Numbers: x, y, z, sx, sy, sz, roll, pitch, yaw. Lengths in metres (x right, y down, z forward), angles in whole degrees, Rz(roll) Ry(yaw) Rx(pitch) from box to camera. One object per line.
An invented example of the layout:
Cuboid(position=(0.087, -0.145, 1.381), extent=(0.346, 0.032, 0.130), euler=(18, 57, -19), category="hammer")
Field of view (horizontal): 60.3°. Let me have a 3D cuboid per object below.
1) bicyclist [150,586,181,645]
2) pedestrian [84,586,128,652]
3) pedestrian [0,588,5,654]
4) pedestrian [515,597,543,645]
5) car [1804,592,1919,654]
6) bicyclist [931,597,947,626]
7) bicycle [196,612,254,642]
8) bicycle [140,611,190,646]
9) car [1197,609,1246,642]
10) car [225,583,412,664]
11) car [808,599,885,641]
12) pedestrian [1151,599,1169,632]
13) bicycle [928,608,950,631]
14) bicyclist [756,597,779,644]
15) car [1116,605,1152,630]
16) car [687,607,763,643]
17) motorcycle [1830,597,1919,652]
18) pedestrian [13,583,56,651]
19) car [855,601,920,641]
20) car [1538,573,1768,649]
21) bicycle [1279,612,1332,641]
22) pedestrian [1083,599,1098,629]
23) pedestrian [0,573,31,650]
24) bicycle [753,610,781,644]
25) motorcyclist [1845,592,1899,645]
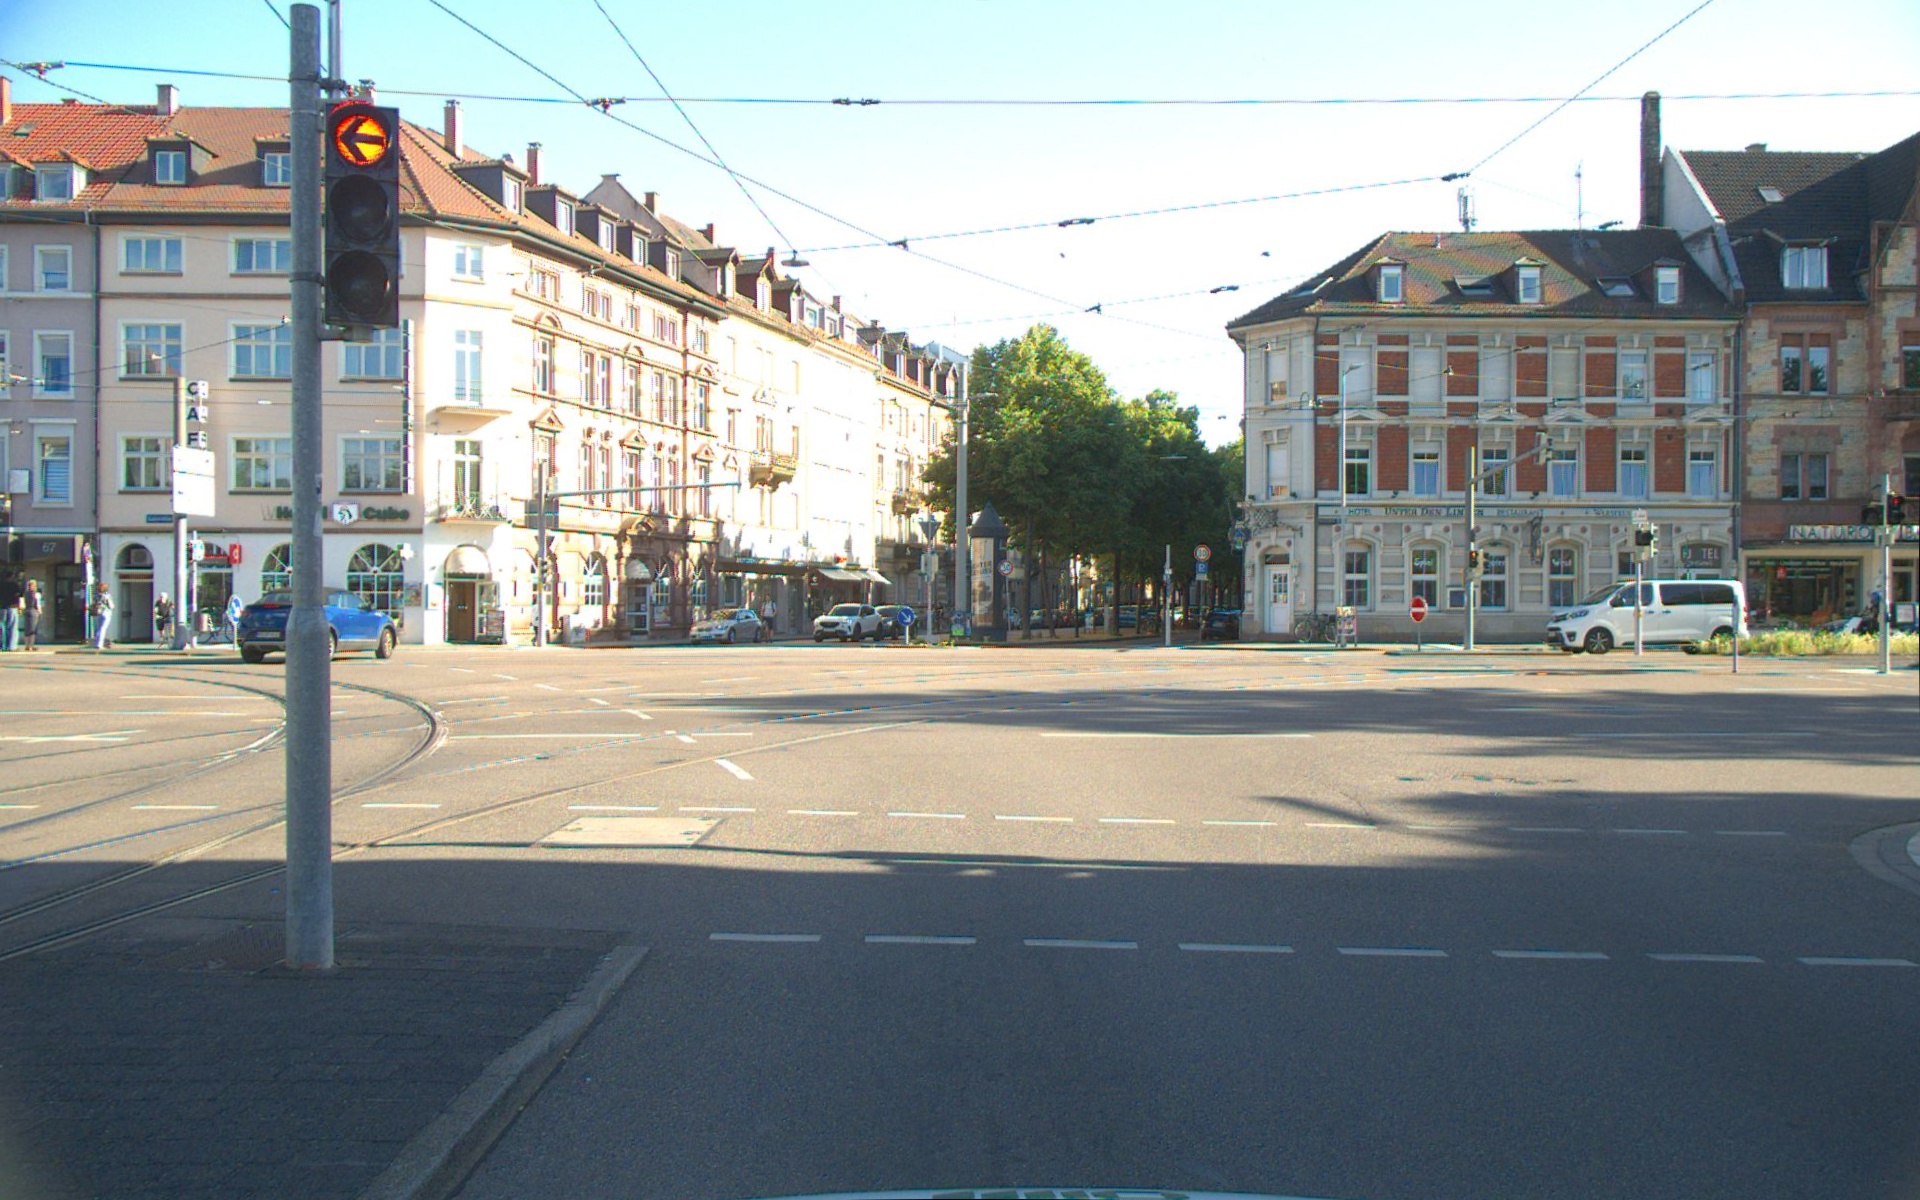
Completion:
Cuboid(position=(-24.900, 0.479, 51.848), extent=(0.608, 1.822, 0.615), euler=(1, -1, 4), category="bicyclist")
Cuboid(position=(-21.231, 0.477, 41.120), extent=(0.655, 1.622, 0.815), euler=(1, -1, -1), category="pedestrian")
Cuboid(position=(-24.333, 0.521, 41.264), extent=(0.561, 1.677, 0.727), euler=(1, -1, -1), category="pedestrian")
Cuboid(position=(-15.136, 0.741, 58.137), extent=(0.556, 1.671, 0.792), euler=(1, -1, 22), category="pedestrian")
Cuboid(position=(25.914, 0.638, 46.027), extent=(3.905, 1.650, 1.804), euler=(1, 0, 0), category="car")
Cuboid(position=(-1.149, 0.637, 90.303), extent=(0.659, 1.595, 0.748), euler=(1, -1, 17), category="bicyclist")
Cuboid(position=(-25.101, 0.914, 56.505), extent=(1.666, 1.000, 0.611), euler=(1, 0, -1), category="bicycle")
Cuboid(position=(-24.905, 0.886, 51.830), extent=(0.608, 1.048, 1.755), euler=(1, 0, 4), category="bicycle")
Cuboid(position=(13.090, 1.275, 82.690), extent=(1.719, 1.583, 4.001), euler=(1, 0, 20), category="car")
Cuboid(position=(-13.441, 0.456, 34.945), extent=(1.786, 1.602, 4.203), euler=(0, 0, 10), category="car")
Cuboid(position=(-4.570, 0.807, 67.179), extent=(1.764, 1.613, 4.162), euler=(1, 0, 16), category="car")
Cuboid(position=(12.388, 0.952, 102.465), extent=(0.941, 2.049, 0.918), euler=(1, -1, 0), category="pedestrian")
Cuboid(position=(-1.156, 1.060, 90.298), extent=(0.659, 1.228, 1.822), euler=(1, 0, 17), category="bicycle")
Cuboid(position=(-7.561, 0.791, 64.973), extent=(0.553, 1.835, 0.915), euler=(1, -1, 14), category="bicyclist")
Cuboid(position=(12.321, 1.226, 116.777), extent=(1.951, 1.713, 4.003), euler=(1, 0, 15), category="car")
Cuboid(position=(-9.464, 0.986, 66.890), extent=(1.624, 1.398, 3.894), euler=(1, 0, 14), category="car")
Cuboid(position=(23.510, 0.628, 42.300), extent=(2.090, 1.357, 0.797), euler=(1, 0, 11), category="motorcycle")
Cuboid(position=(-22.950, 0.417, 41.027), extent=(0.571, 1.677, 0.840), euler=(1, -1, -1), category="pedestrian")
Cuboid(position=(-3.193, 0.932, 73.549), extent=(1.786, 1.715, 3.877), euler=(1, 0, 16), category="car")
Cuboid(position=(17.784, 0.274, 42.584), extent=(5.092, 1.886, 2.000), euler=(0, 0, 0), category="car")
Cuboid(position=(11.975, 0.906, 57.286), extent=(1.764, 0.979, 0.604), euler=(1, 0, 14), category="bicycle")
Cuboid(position=(9.041, 0.976, 114.471), extent=(0.923, 2.049, 0.827), euler=(1, -1, 13), category="pedestrian")
Cuboid(position=(-22.953, 0.277, 40.034), extent=(0.516, 1.854, 0.676), euler=(1, -1, -1), category="pedestrian")
Cuboid(position=(-7.581, 1.054, 64.868), extent=(0.553, 1.276, 1.558), euler=(1, 0, 14), category="bicycle")
Cuboid(position=(23.335, 0.464, 42.337), extent=(0.993, 1.323, 0.790), euler=(1, 0, 11), category="motorcyclist")
